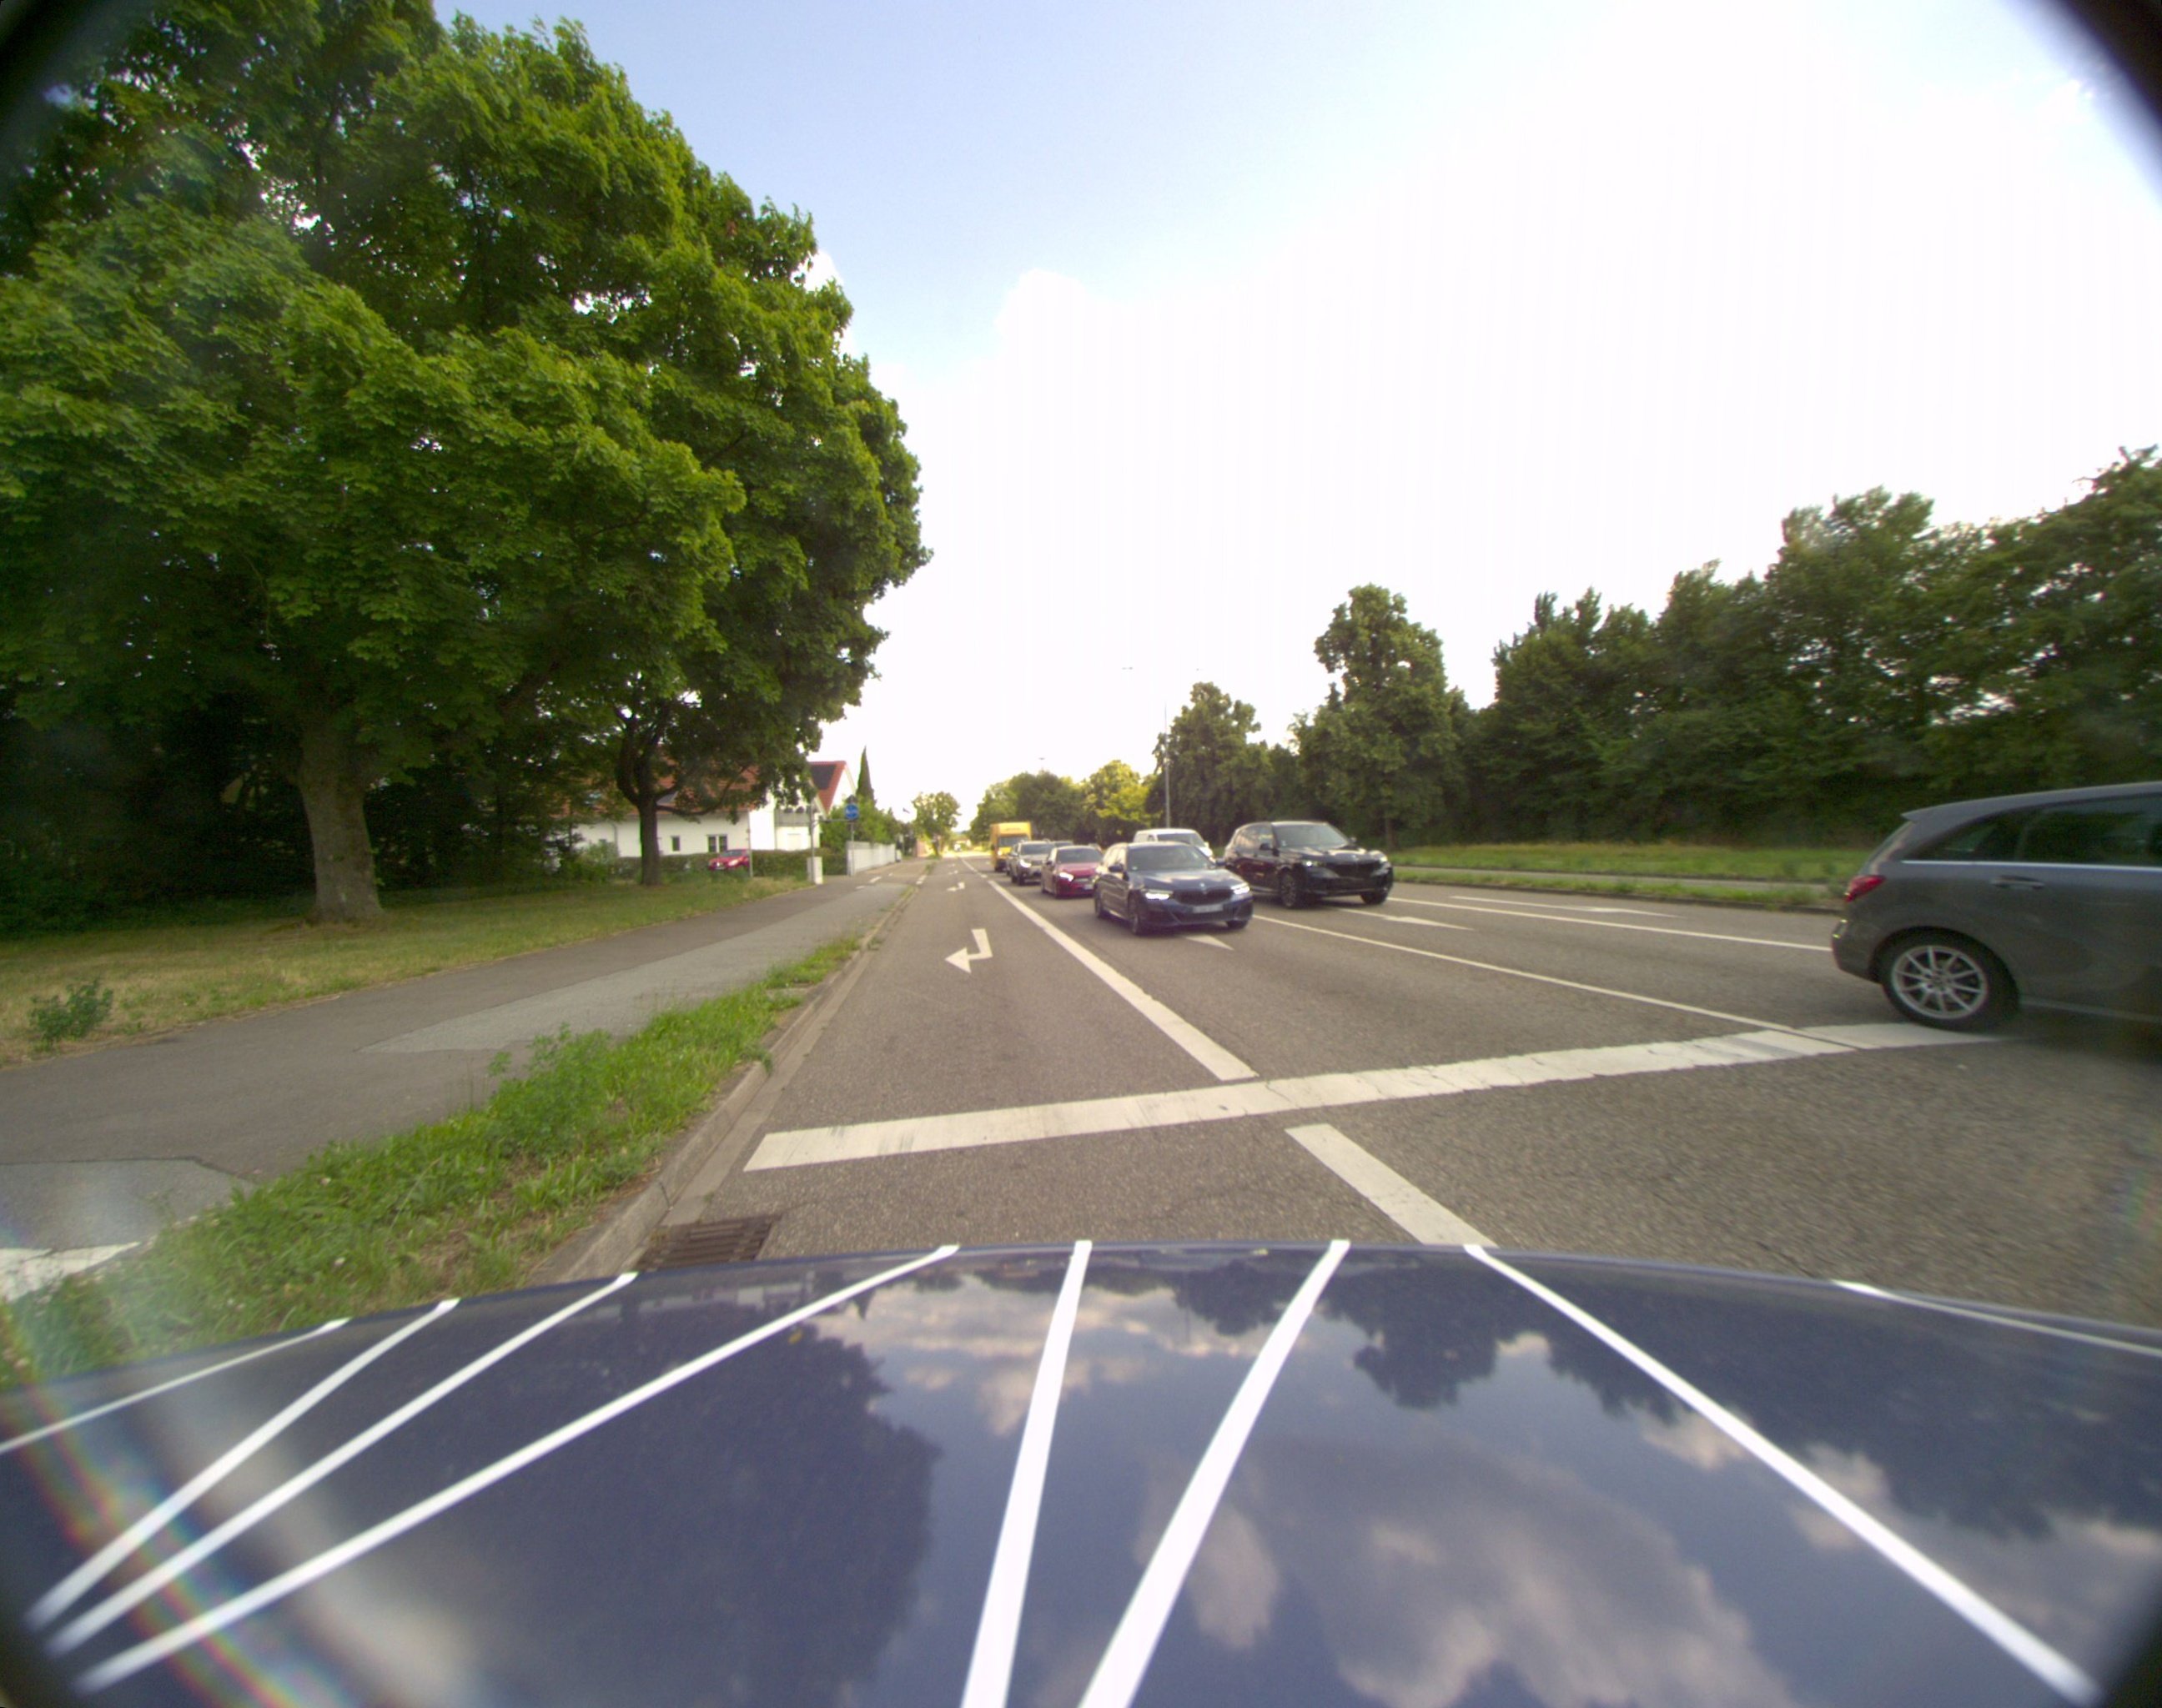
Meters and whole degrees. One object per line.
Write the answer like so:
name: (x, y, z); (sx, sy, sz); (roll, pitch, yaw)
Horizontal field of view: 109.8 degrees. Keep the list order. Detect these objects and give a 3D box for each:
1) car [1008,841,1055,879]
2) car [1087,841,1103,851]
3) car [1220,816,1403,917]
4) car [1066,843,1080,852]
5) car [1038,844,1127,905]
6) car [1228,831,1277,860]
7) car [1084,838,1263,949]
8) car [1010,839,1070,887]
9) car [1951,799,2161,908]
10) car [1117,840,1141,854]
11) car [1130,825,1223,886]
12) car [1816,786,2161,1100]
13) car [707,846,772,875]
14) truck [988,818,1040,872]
car: (-2.388, 0.228, 35.681); (1.729, 1.522, 3.889); (-4, 2, -9)
car: (1.886, -1.143, 104.632); (1.466, 1.363, 3.654); (-2, 1, -11)
car: (4.618, 0.166, 16.028); (1.819, 1.736, 4.544); (-3, 2, -10)
car: (-1.413, -1.118, 126.491); (1.673, 1.379, 4.233); (-1, 2, -10)
car: (-0.078, 0.497, 21.846); (1.729, 1.454, 4.530); (-4, 2, -9)
car: (11.387, -0.592, 50.647); (1.676, 1.784, 4.249); (-3, 2, -10)
car: (1.391, 0.526, 13.596); (1.802, 1.488, 4.867); (-4, 2, -9)
car: (-1.642, 0.281, 28.976); (1.729, 1.603, 4.171); (-3, 2, -10)
car: (17.974, -0.048, 12.674); (1.676, 1.732, 4.305); (-3, 2, -10)
car: (5.183, -0.776, 82.061); (1.532, 1.450, 4.201); (-2, 2, -11)
car: (3.075, -0.010, 25.528); (1.771, 1.788, 4.725); (-3, 2, -10)
car: (6.457, 0.425, 3.418); (1.704, 1.610, 4.355); (-3, 1, -10)
car: (-19.765, 0.325, 44.154); (1.681, 1.522, 4.392); (-2, 1, 1)
truck: (-4.103, -0.534, 45.491); (2.365, 2.844, 6.959); (-4, 2, -9)
